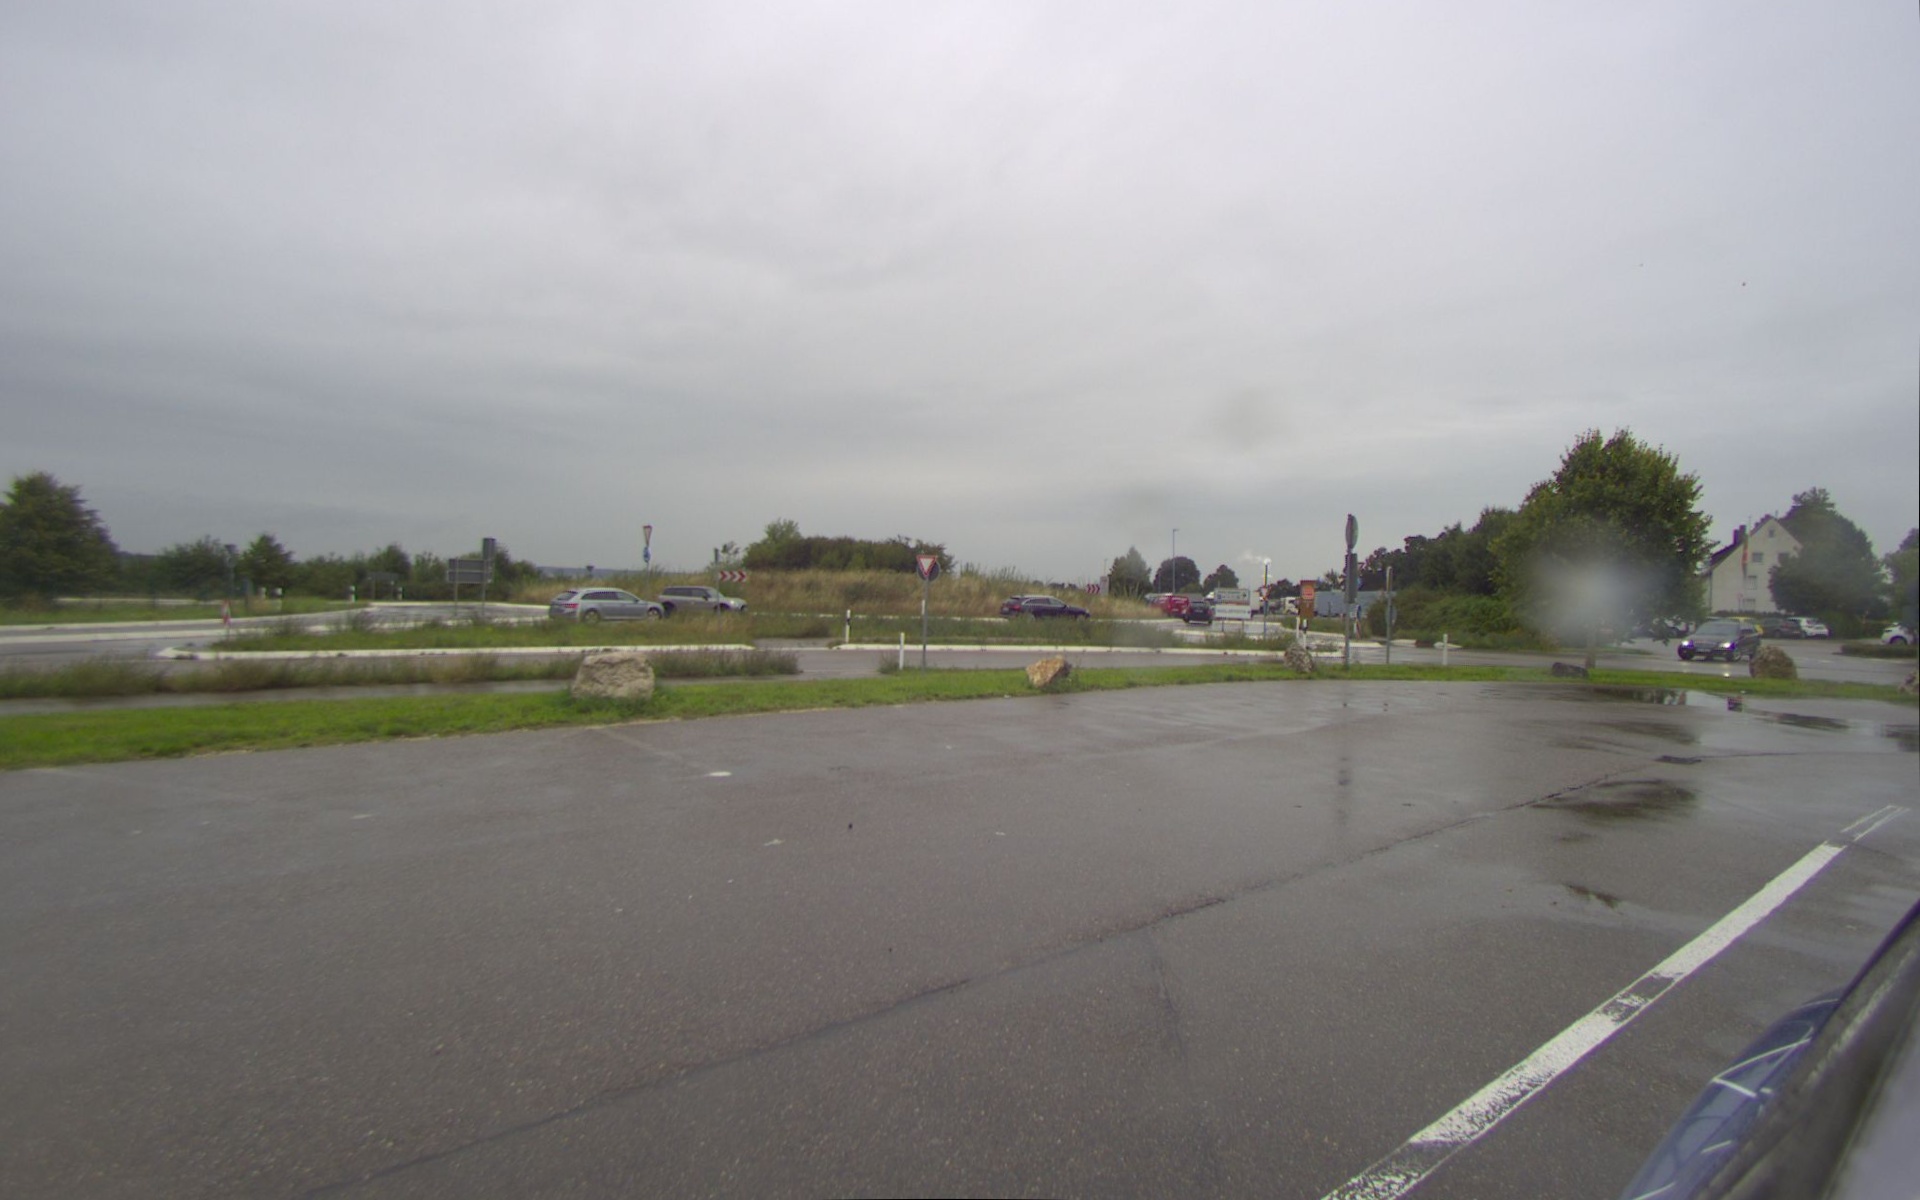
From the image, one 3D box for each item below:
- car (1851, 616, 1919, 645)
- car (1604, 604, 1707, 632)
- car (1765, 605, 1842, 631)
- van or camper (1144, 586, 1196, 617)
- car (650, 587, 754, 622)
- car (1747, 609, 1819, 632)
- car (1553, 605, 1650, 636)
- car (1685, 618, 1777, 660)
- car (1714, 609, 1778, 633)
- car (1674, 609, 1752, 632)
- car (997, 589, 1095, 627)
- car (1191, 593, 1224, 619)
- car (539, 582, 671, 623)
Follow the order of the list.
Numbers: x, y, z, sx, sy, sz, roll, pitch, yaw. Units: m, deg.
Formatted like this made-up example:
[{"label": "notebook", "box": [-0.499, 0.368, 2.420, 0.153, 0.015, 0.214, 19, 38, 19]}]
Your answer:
[{"label": "car", "box": [51.366, 1.658, 54.948, 1.819, 1.443, 4.350, 1, 0, -44]}, {"label": "car", "box": [46.093, 1.167, 67.202, 1.966, 1.744, 5.366, 2, -1, -42]}, {"label": "car", "box": [59.854, 1.271, 71.892, 1.951, 1.750, 4.003, 1, 0, -4]}, {"label": "van or camper", "box": [16.165, 0.099, 78.183, 1.958, 2.038, 4.859, 2, 2, -13]}, {"label": "car", "box": [-11.703, 0.191, 46.041, 4.235, 1.340, 1.754, 2, 3, 7]}, {"label": "car", "box": [57.757, 1.420, 71.119, 1.715, 1.590, 3.891, 1, 0, -3]}, {"label": "car", "box": [38.278, 1.187, 60.457, 1.966, 1.744, 4.599, 2, -1, -42]}, {"label": "car", "box": [29.308, 1.502, 38.446, 4.279, 1.443, 1.705, 3, -1, -37]}, {"label": "car", "box": [55.346, 1.462, 71.319, 1.635, 1.569, 3.724, 1, 0, 2]}, {"label": "car", "box": [52.752, 1.428, 71.062, 1.962, 1.570, 4.648, 1, -1, -1]}, {"label": "car", "box": [4.219, 0.368, 49.566, 4.581, 1.704, 1.893, 0, 3, -35]}, {"label": "car", "box": [16.157, 0.361, 65.829, 1.972, 1.623, 4.502, 0, 0, 15]}, {"label": "car", "box": [-14.247, 0.118, 40.751, 1.994, 1.500, 4.588, 4, 1, 44]}]
